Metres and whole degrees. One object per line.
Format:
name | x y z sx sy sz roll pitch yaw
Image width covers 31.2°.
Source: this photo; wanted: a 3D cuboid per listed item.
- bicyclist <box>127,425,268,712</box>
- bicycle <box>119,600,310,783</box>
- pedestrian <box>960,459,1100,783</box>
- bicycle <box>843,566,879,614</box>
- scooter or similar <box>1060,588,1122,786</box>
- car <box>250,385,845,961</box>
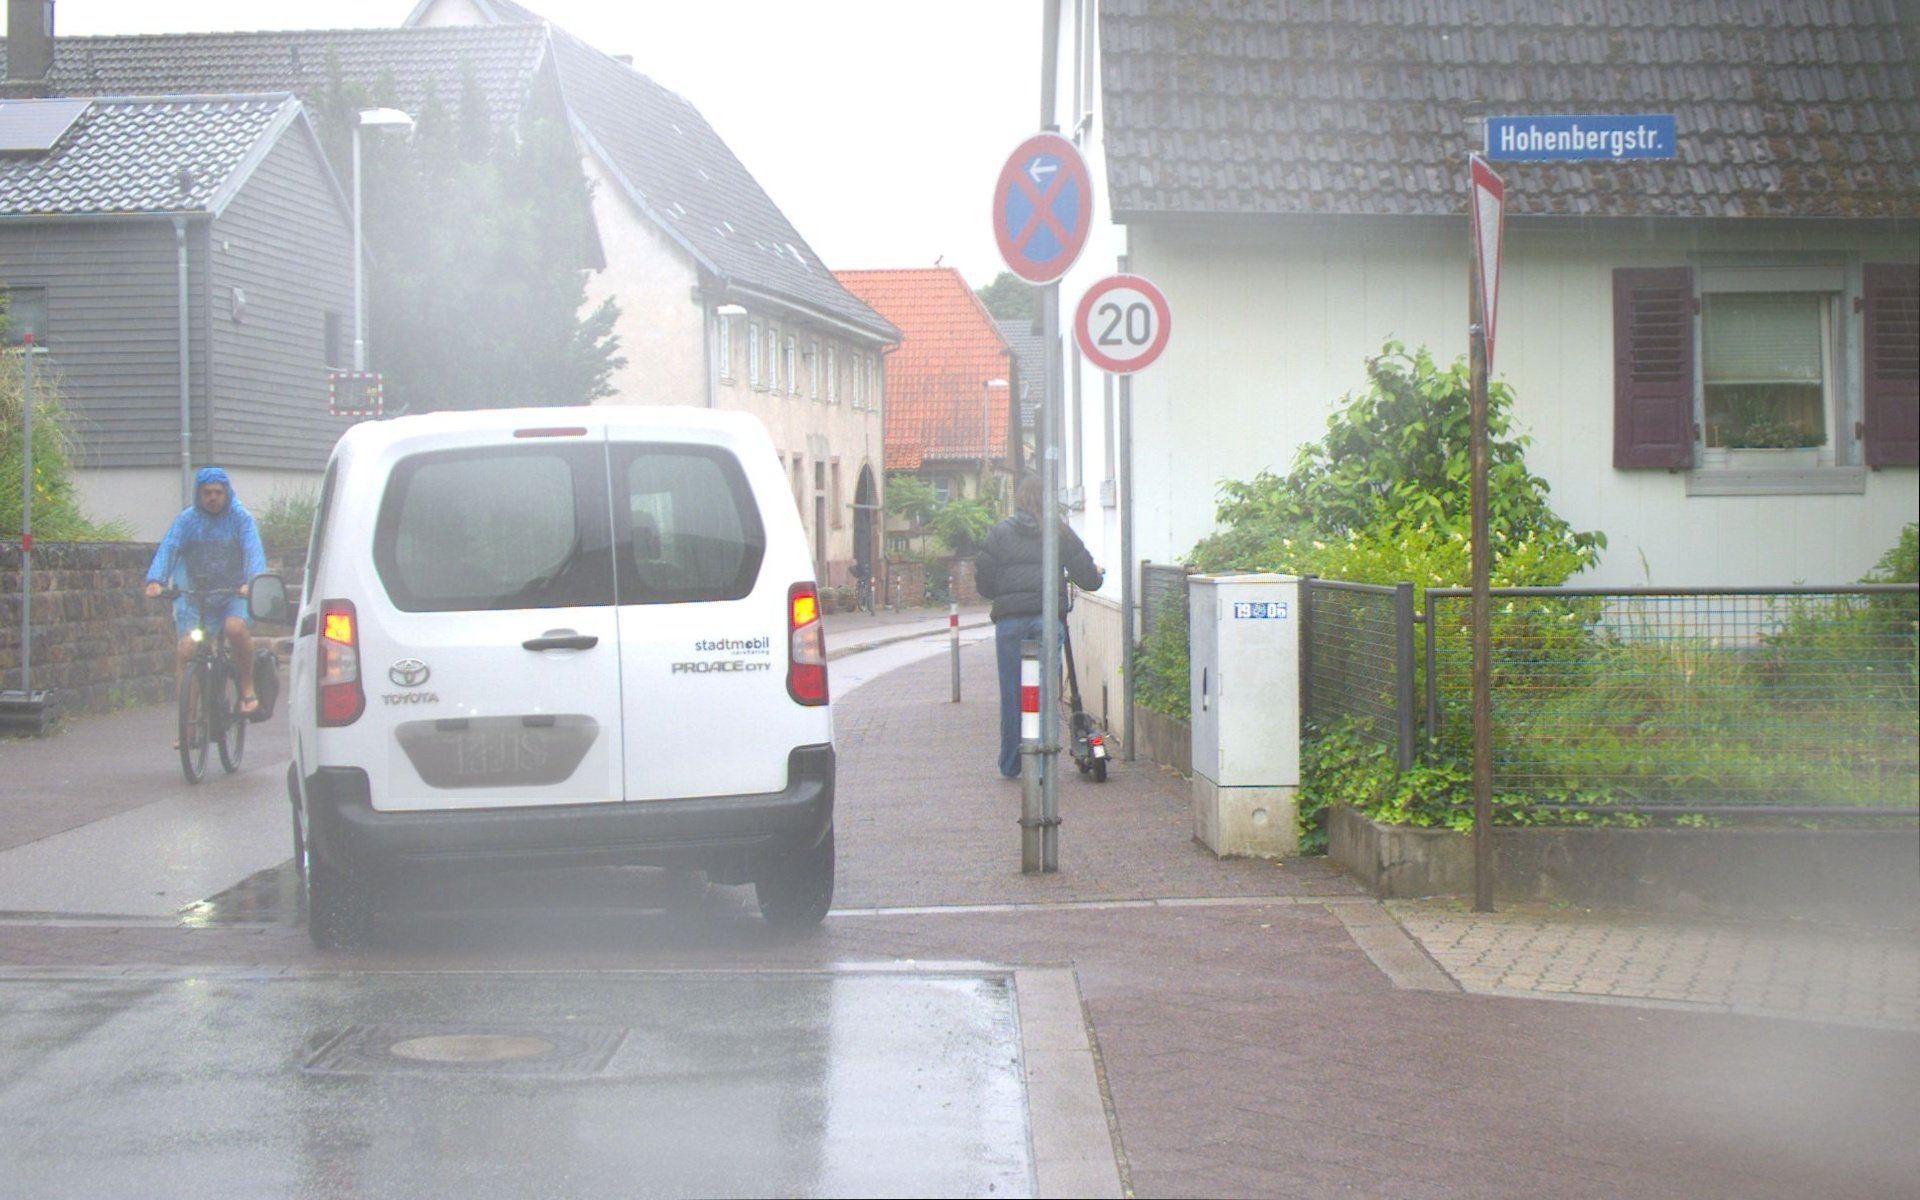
bicyclist | -4.632 -0.189 20.912 0.687 1.707 0.703 1 0 -1
bicycle | -4.538 0.531 21.071 0.681 1.047 2.339 1 0 -1
pedestrian | 0.375 0.104 18.870 0.694 1.726 0.821 1 1 -1
bicycle | -2.418 -0.241 84.034 0.483 1.176 1.834 1 0 10
scooter or similar | 0.713 0.460 18.829 0.245 1.024 1.100 1 1 -1
car | -1.719 0.247 13.028 1.794 1.812 4.102 1 0 -13
